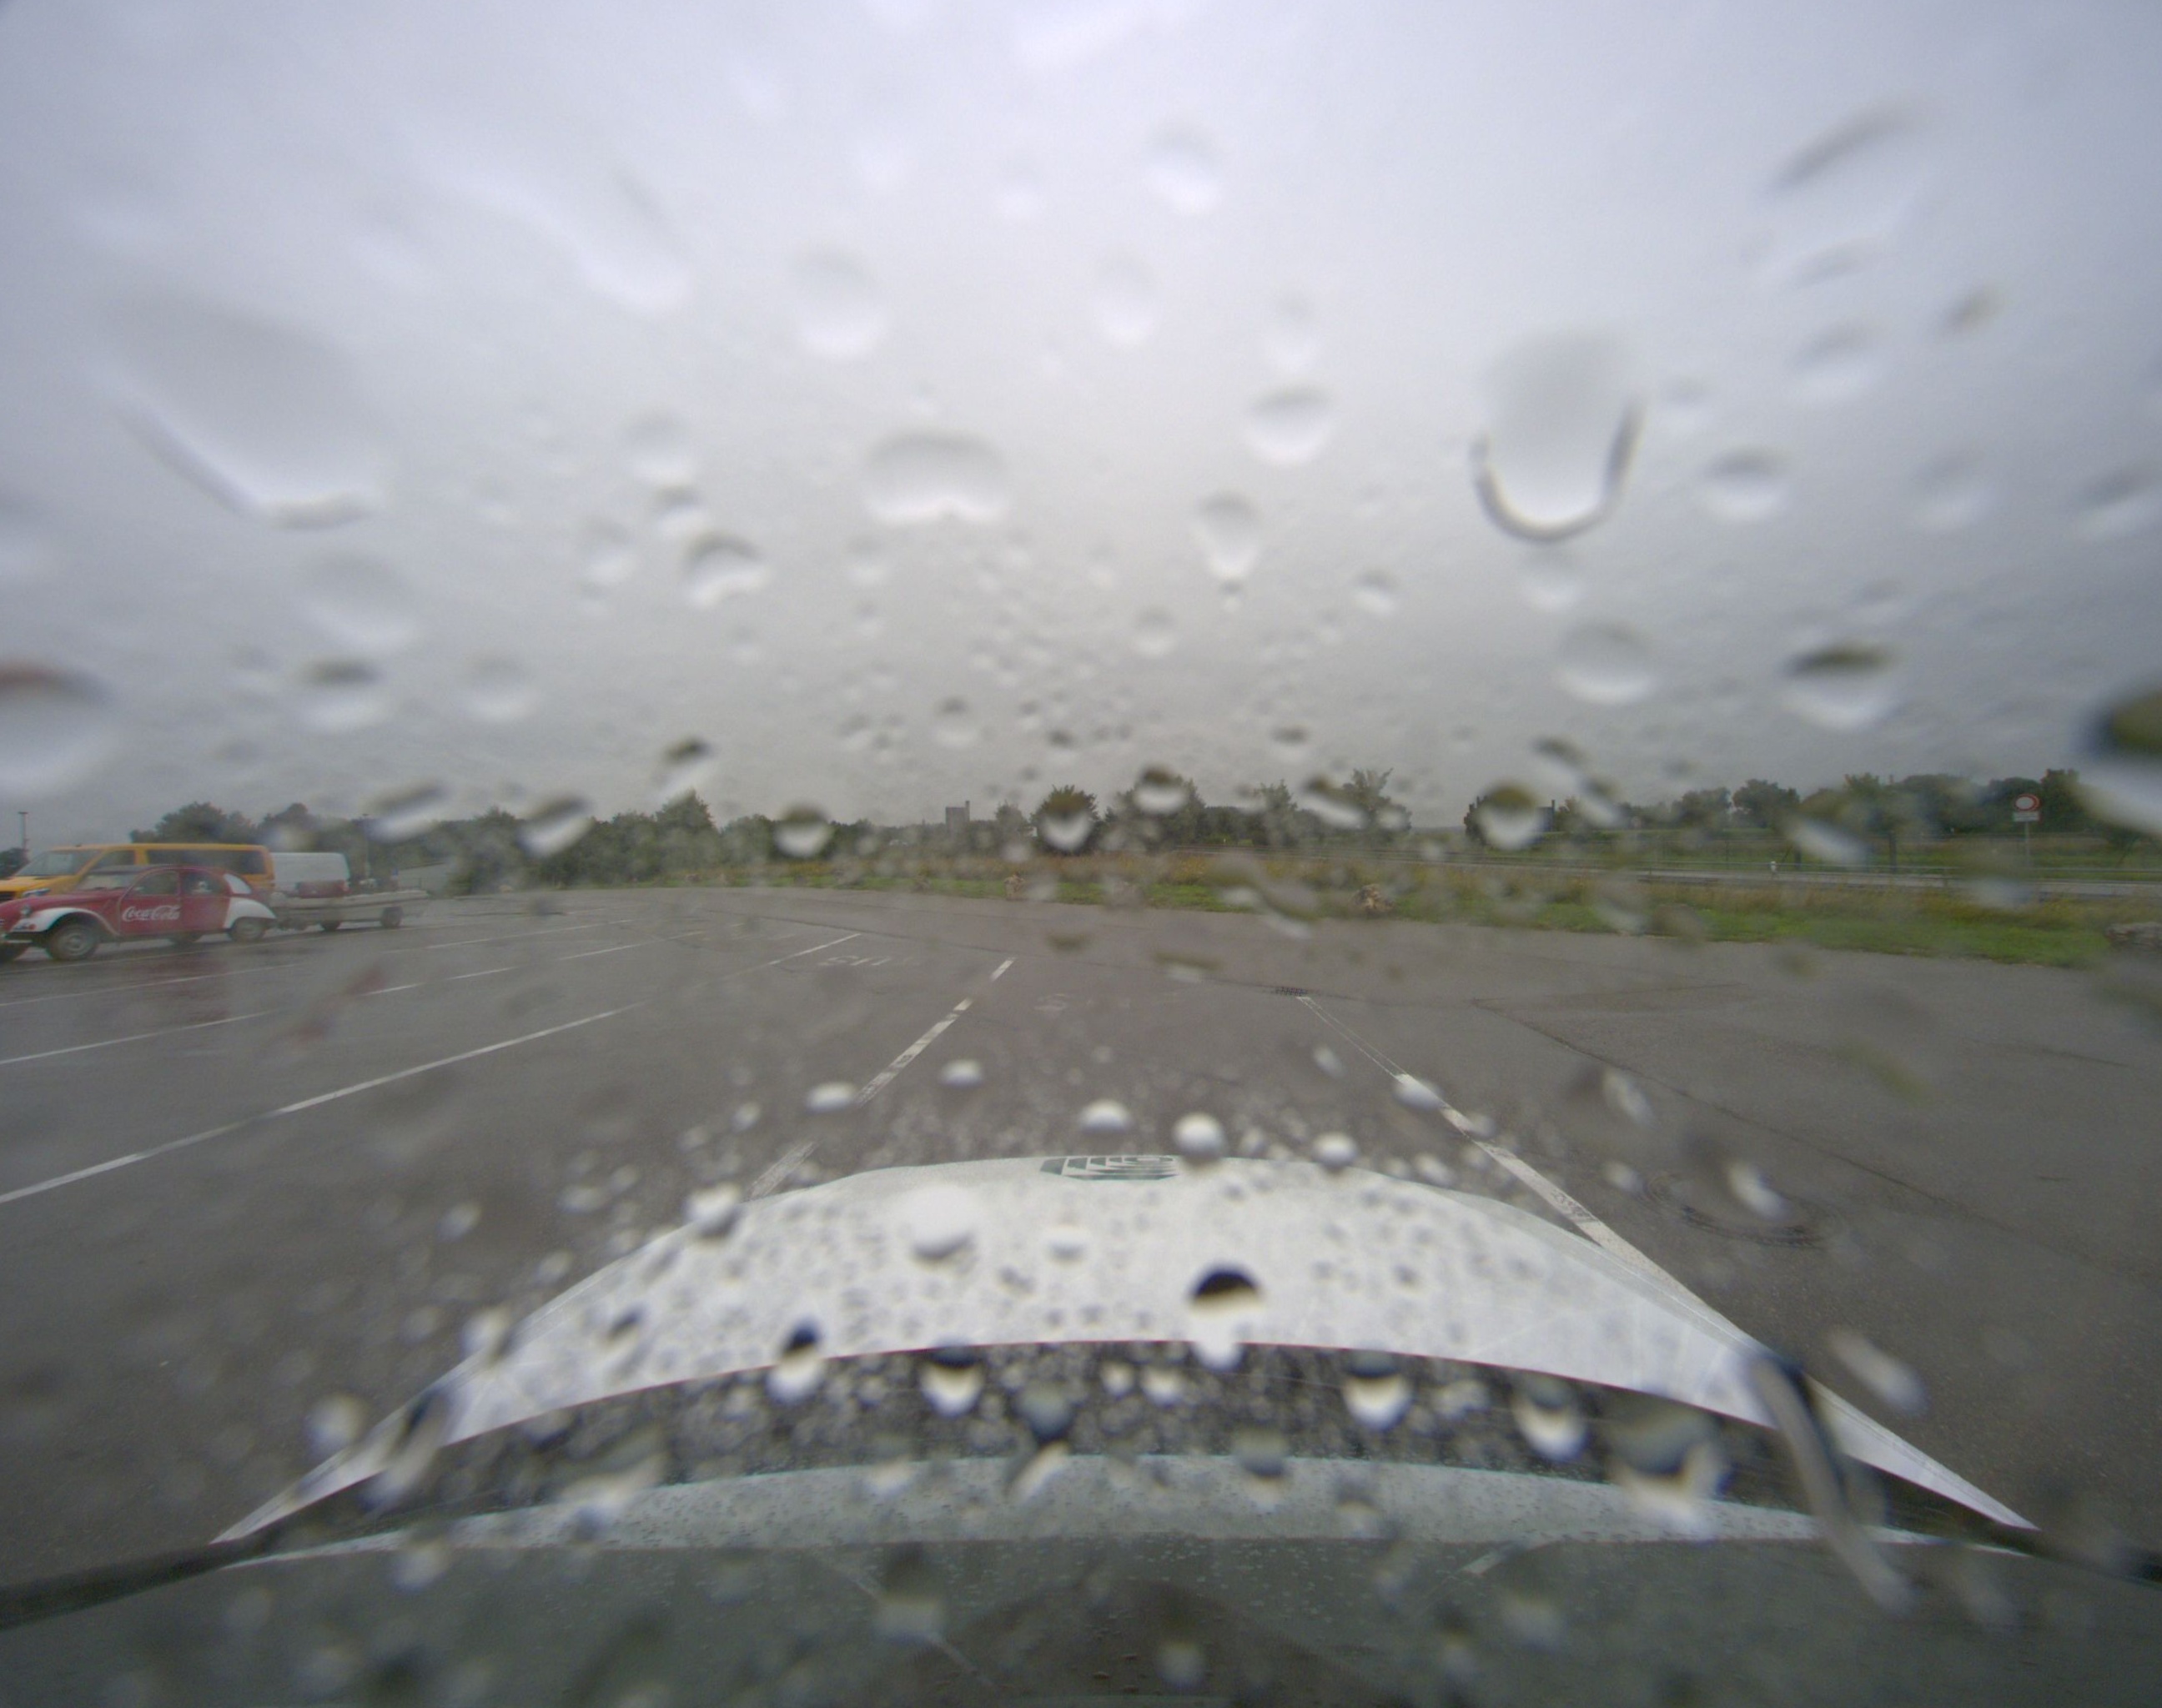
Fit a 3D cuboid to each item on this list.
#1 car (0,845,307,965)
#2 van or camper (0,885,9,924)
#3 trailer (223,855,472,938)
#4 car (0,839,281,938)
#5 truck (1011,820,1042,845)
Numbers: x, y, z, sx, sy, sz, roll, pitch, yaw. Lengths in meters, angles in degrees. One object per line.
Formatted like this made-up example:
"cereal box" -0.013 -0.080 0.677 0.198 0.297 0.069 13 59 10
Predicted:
"car" -16.526 0.786 14.277 1.813 1.777 4.006 -2 0 5
"van or camper" -62.433 2.931 46.034 3.948 2.166 2.013 -2 0 34
"trailer" -16.155 0.863 18.273 1.687 1.532 4.006 -2 0 5
"car" -26.812 0.902 23.111 1.986 2.380 6.028 -4 0 2
"truck" -8.027 -3.096 118.693 2.745 3.391 8.022 -1 0 -16
